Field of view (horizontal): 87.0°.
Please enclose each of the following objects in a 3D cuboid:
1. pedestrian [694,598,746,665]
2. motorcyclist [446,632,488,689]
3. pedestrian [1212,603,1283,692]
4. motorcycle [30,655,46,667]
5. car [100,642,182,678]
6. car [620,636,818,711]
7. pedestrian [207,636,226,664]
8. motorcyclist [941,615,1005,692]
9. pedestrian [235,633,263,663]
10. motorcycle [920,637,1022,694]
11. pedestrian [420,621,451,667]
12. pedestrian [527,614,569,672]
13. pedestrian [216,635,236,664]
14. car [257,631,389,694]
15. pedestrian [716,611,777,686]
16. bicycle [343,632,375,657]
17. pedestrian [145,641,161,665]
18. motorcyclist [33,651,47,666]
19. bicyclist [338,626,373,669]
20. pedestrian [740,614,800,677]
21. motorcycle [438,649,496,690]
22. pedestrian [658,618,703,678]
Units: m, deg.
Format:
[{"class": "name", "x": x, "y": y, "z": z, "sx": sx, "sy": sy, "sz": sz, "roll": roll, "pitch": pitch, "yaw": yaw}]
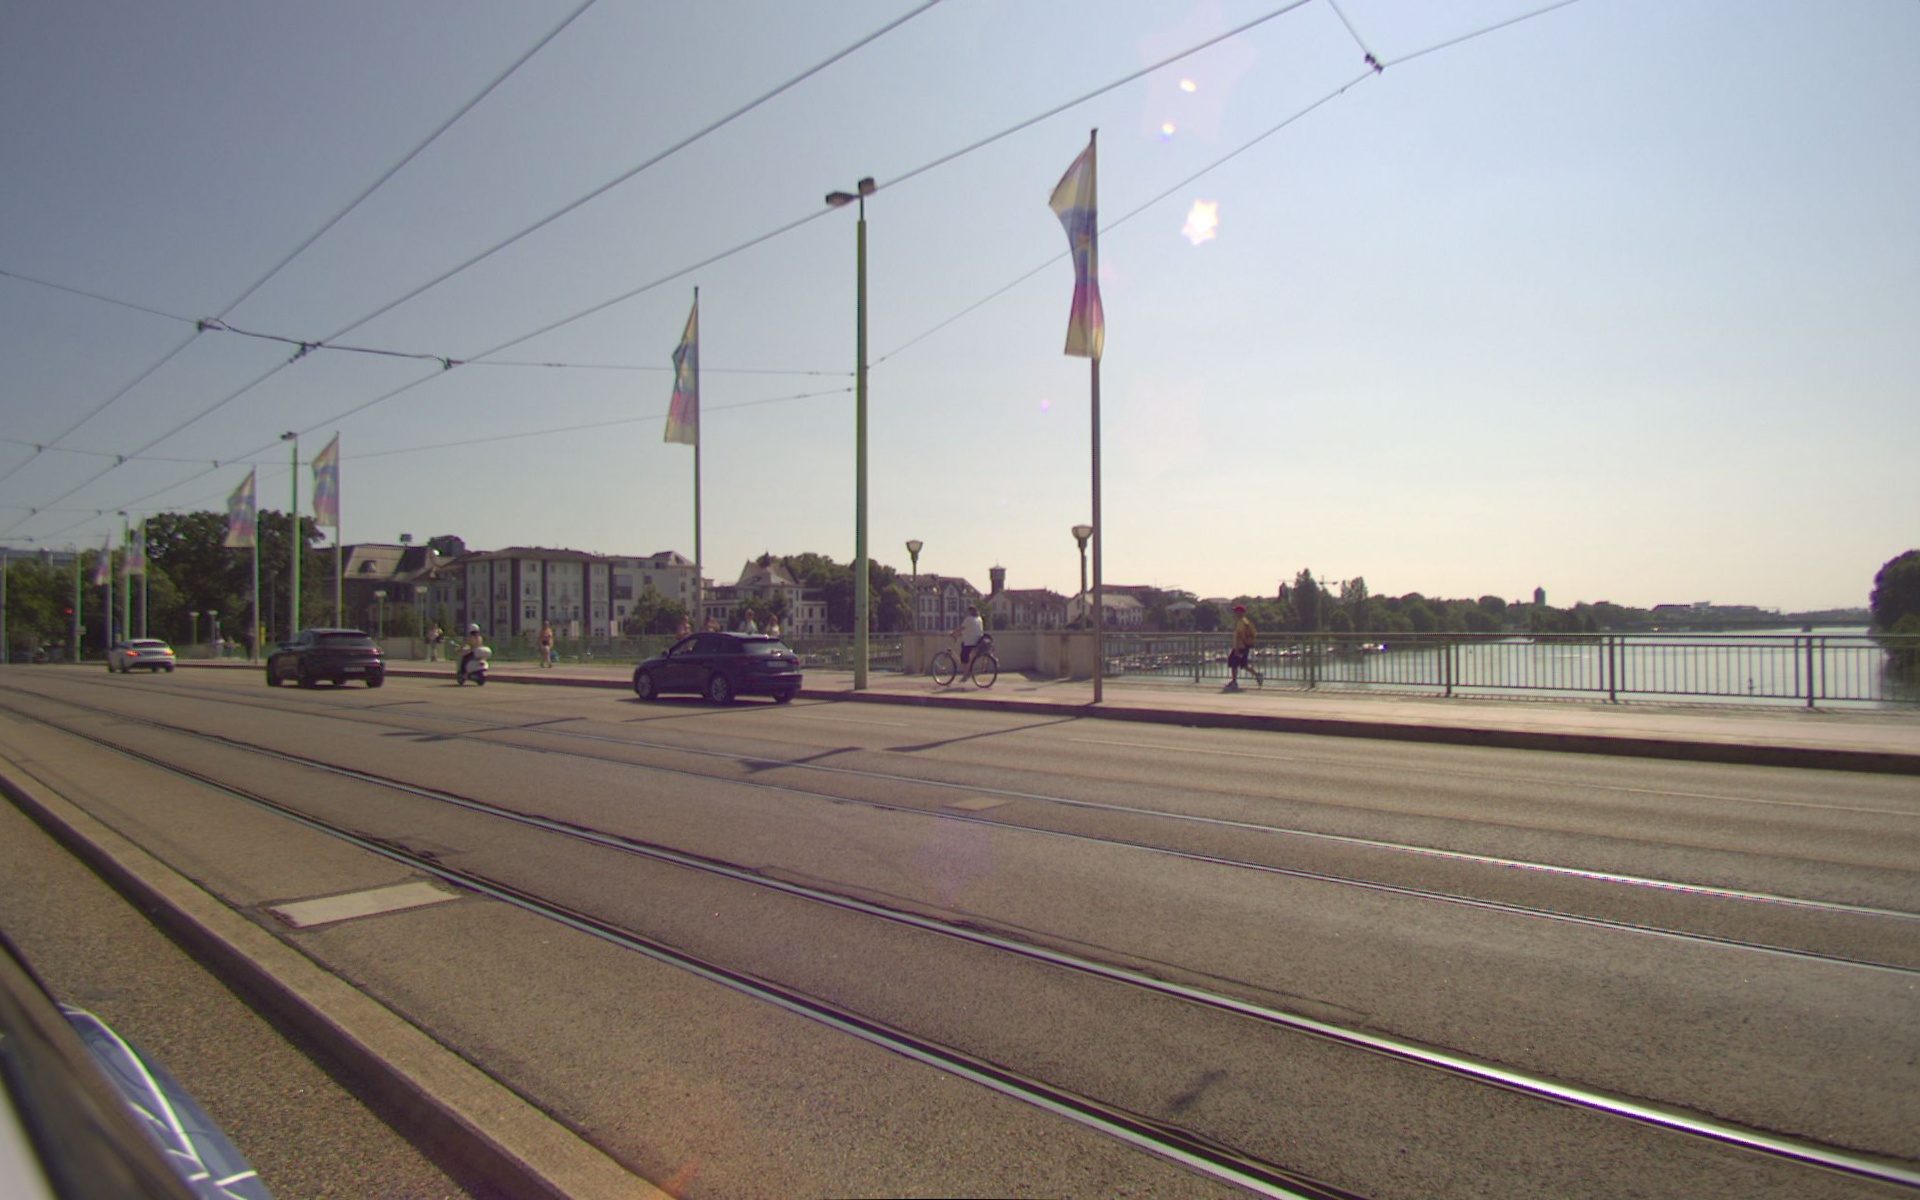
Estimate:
[{"class": "pedestrian", "x": -7.414, "y": 0.978, "z": 31.315, "sx": 1.128, "sy": 2.029, "sz": 1.086, "roll": -3, "pitch": -3, "yaw": 38}, {"class": "motorcyclist", "x": -14.061, "y": 1.715, "z": 28.889, "sx": 0.831, "sy": 1.586, "sz": 0.819, "roll": -3, "pitch": -2, "yaw": 40}, {"class": "pedestrian", "x": 5.628, "y": 0.924, "z": 19.807, "sx": 1.028, "sy": 1.671, "sz": 0.889, "roll": -3, "pitch": -4, "yaw": 43}, {"class": "motorcycle", "x": -86.335, "y": 5.719, "z": 94.761, "sx": 1.950, "sy": 1.033, "sz": 0.836, "roll": -3, "pitch": -2, "yaw": 40}, {"class": "car", "x": -35.638, "y": 2.583, "z": 43.994, "sx": 4.544, "sy": 1.420, "sz": 1.973, "roll": -2, "pitch": -2, "yaw": 40}, {"class": "car", "x": -5.046, "y": 1.453, "z": 20.868, "sx": 4.380, "sy": 1.373, "sz": 1.740, "roll": -2, "pitch": -2, "yaw": 41}, {"class": "pedestrian", "x": -49.793, "y": 3.341, "z": 67.808, "sx": 0.956, "sy": 1.798, "sz": 0.731, "roll": -3, "pitch": 0, "yaw": 39}, {"class": "motorcyclist", "x": 0.267, "y": 1.098, "z": 21.106, "sx": 1.068, "sy": 1.561, "sz": 0.792, "roll": -3, "pitch": -2, "yaw": 40}, {"class": "pedestrian", "x": -43.114, "y": 2.898, "z": 61.372, "sx": 1.293, "sy": 1.772, "sz": 1.086, "roll": -3, "pitch": -3, "yaw": 39}, {"class": "motorcycle", "x": 0.202, "y": 1.343, "z": 21.038, "sx": 2.177, "sy": 1.119, "sz": 0.694, "roll": -3, "pitch": -3, "yaw": 41}, {"class": "pedestrian", "x": -23.746, "y": 1.988, "z": 45.845, "sx": 1.041, "sy": 2.029, "sz": 0.890, "roll": -3, "pitch": -3, "yaw": 38}, {"class": "pedestrian", "x": -14.792, "y": 1.534, "z": 36.371, "sx": 1.099, "sy": 2.029, "sz": 0.960, "roll": -3, "pitch": -3, "yaw": 36}, {"class": "pedestrian", "x": -49.729, "y": 3.368, "z": 68.559, "sx": 1.120, "sy": 1.862, "sz": 0.731, "roll": -3, "pitch": 0, "yaw": 39}, {"class": "car", "x": -17.623, "y": 1.688, "z": 27.931, "sx": 4.336, "sy": 1.612, "sz": 1.972, "roll": -3, "pitch": -3, "yaw": 42}, {"class": "pedestrian", "x": -5.984, "y": 1.361, "z": 28.370, "sx": 1.293, "sy": 2.029, "sz": 1.086, "roll": -3, "pitch": -3, "yaw": 39}, {"class": "bicycle", "x": -27.642, "y": 2.063, "z": 46.543, "sx": 2.110, "sy": 1.105, "sz": 0.583, "roll": -3, "pitch": -3, "yaw": 39}, {"class": "pedestrian", "x": -65.800, "y": 4.290, "z": 82.479, "sx": 0.974, "sy": 1.867, "sz": 0.731, "roll": -3, "pitch": 0, "yaw": 39}, {"class": "motorcyclist", "x": -86.008, "y": 5.469, "z": 94.566, "sx": 0.897, "sy": 1.412, "sz": 0.836, "roll": -3, "pitch": -2, "yaw": 39}, {"class": "bicyclist", "x": -27.811, "y": 2.182, "z": 46.573, "sx": 1.128, "sy": 1.976, "sz": 1.086, "roll": -3, "pitch": -3, "yaw": 38}, {"class": "pedestrian", "x": -5.415, "y": 1.300, "z": 28.860, "sx": 1.293, "sy": 1.742, "sz": 1.086, "roll": -3, "pitch": -3, "yaw": 39}, {"class": "motorcycle", "x": -14.128, "y": 1.960, "z": 28.966, "sx": 2.177, "sy": 1.118, "sz": 0.694, "roll": -2, "pitch": -2, "yaw": 41}, {"class": "pedestrian", "x": -8.402, "y": 1.429, "z": 30.394, "sx": 1.174, "sy": 1.735, "sz": 0.747, "roll": -2, "pitch": -2, "yaw": 39}]
